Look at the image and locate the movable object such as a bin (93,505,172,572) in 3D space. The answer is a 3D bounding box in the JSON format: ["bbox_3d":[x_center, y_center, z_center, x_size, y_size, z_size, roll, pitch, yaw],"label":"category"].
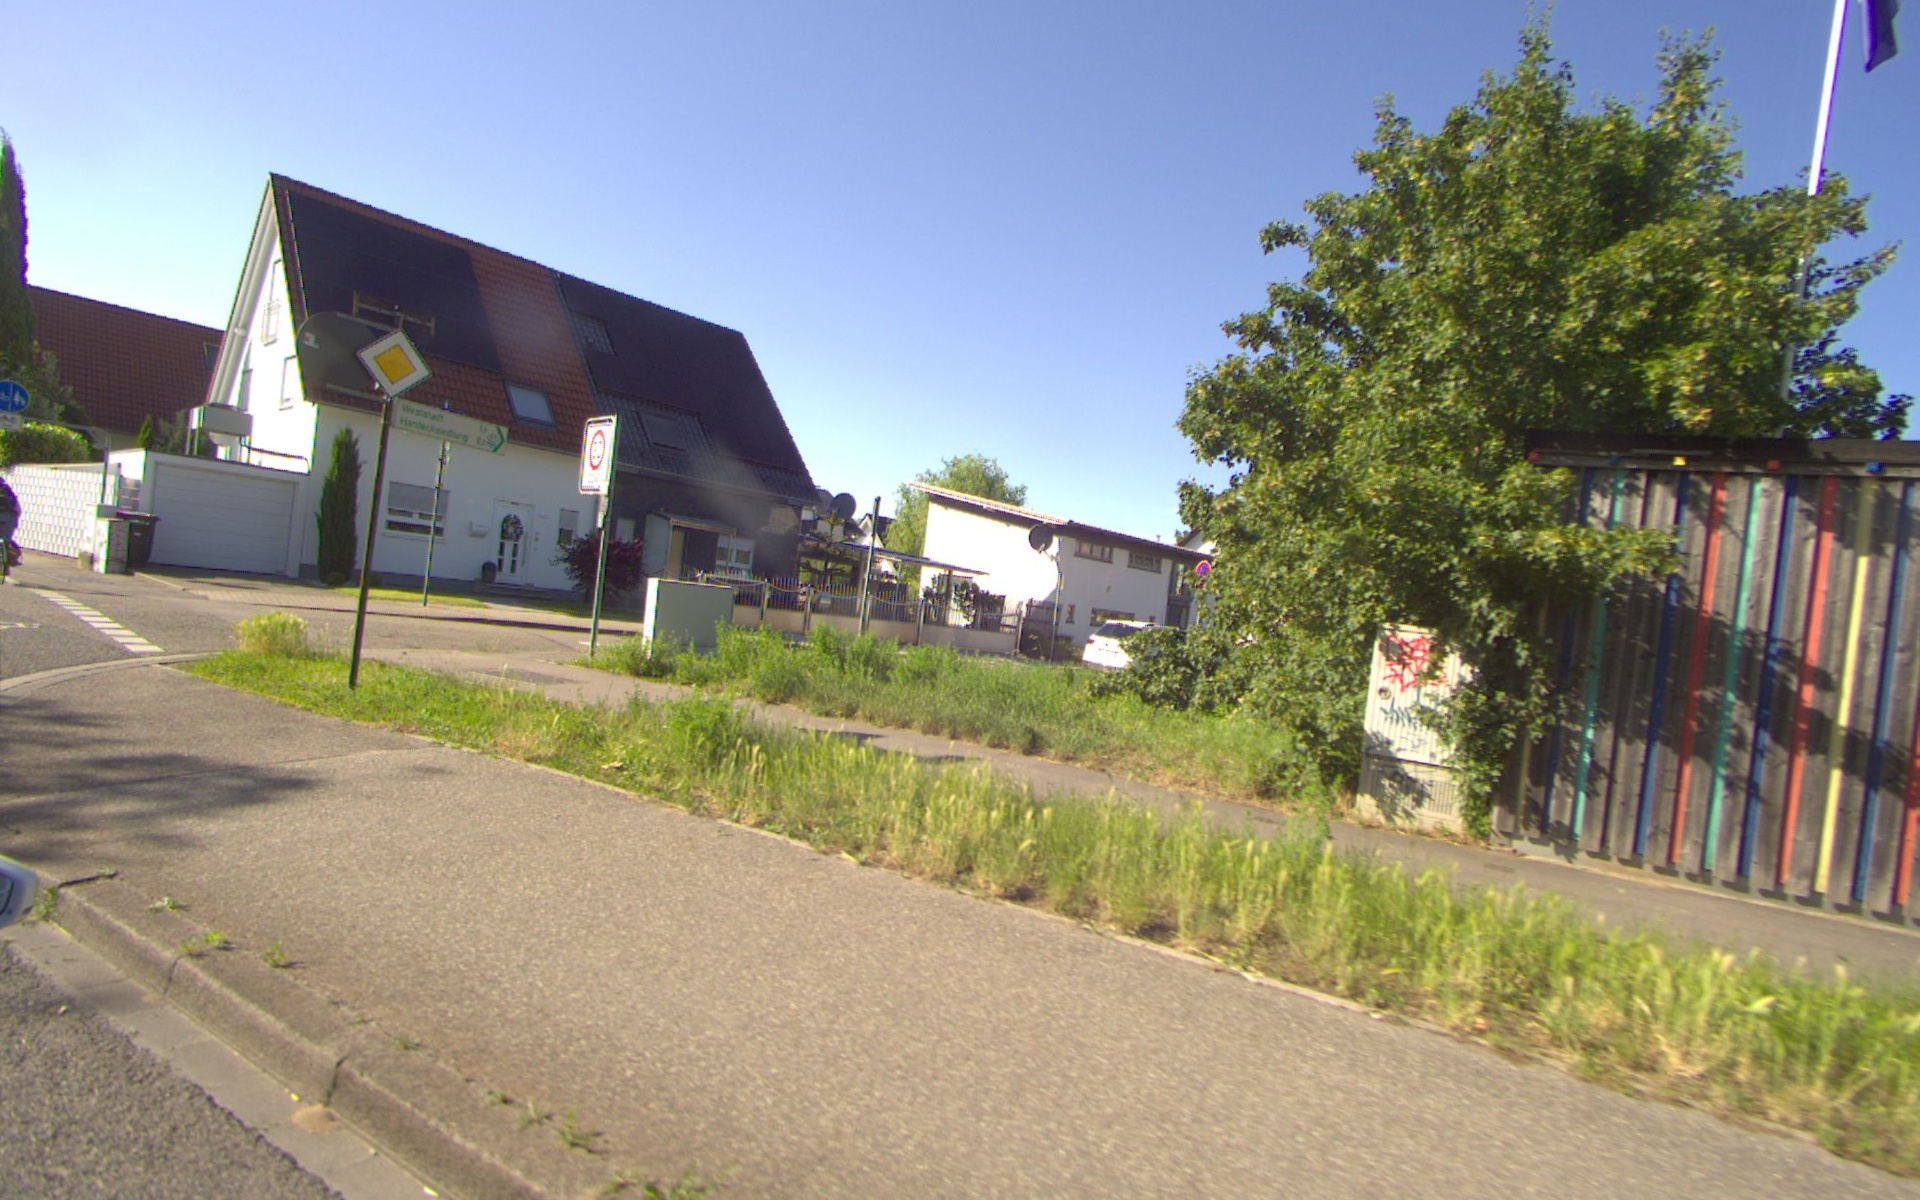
[{"bbox_3d":[-16.714,-1.239,20.327,1.047,1.221,1.000,6,2,38],"label":"movable object such as a bin"}]

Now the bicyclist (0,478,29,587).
[{"bbox_3d":[-15.170,-1.087,15.761,0.966,1.655,0.629,8,4,34],"label":"bicyclist"}]

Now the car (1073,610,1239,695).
[{"bbox_3d":[4.835,1.314,24.610,3.899,1.501,1.822,10,-1,-40],"label":"car"}]

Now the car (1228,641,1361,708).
[{"bbox_3d":[9.531,2.127,28.567,3.722,1.502,1.762,7,1,-40],"label":"car"}]

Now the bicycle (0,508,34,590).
[{"bbox_3d":[-15.354,-0.849,15.901,2.106,1.171,0.573,8,4,34],"label":"bicycle"}]
